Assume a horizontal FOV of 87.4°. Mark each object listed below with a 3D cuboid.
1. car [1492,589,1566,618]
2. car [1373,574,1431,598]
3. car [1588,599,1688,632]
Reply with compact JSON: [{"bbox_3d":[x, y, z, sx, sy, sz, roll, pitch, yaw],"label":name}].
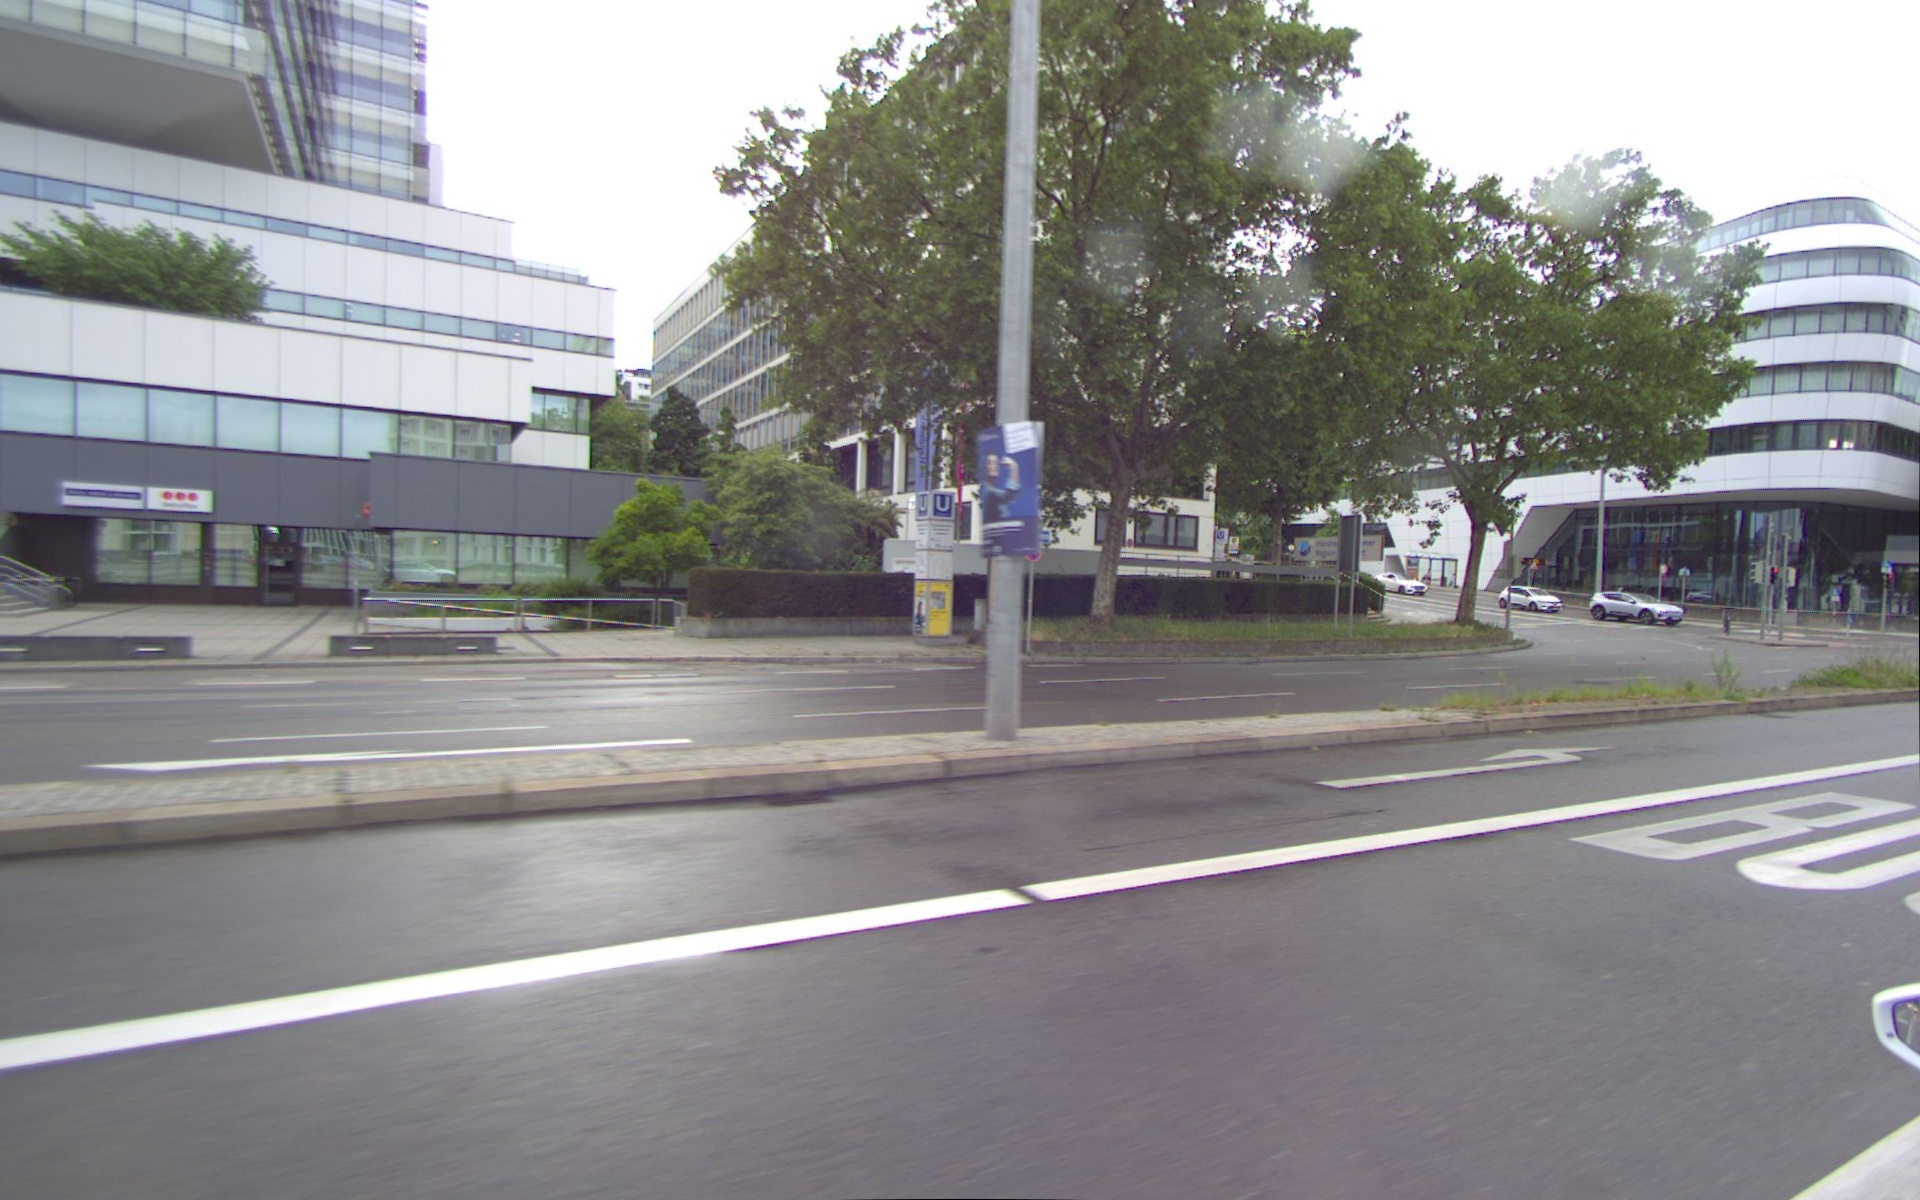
[{"bbox_3d":[35.829,0.196,63.348,1.862,1.653,3.990,3,0,-13],"label":"car"},{"bbox_3d":[32.943,-1.043,74.995,1.862,1.653,3.989,3,1,-13],"label":"car"},{"bbox_3d":[37.321,0.839,55.460,1.862,1.653,4.505,3,0,-13],"label":"car"}]
